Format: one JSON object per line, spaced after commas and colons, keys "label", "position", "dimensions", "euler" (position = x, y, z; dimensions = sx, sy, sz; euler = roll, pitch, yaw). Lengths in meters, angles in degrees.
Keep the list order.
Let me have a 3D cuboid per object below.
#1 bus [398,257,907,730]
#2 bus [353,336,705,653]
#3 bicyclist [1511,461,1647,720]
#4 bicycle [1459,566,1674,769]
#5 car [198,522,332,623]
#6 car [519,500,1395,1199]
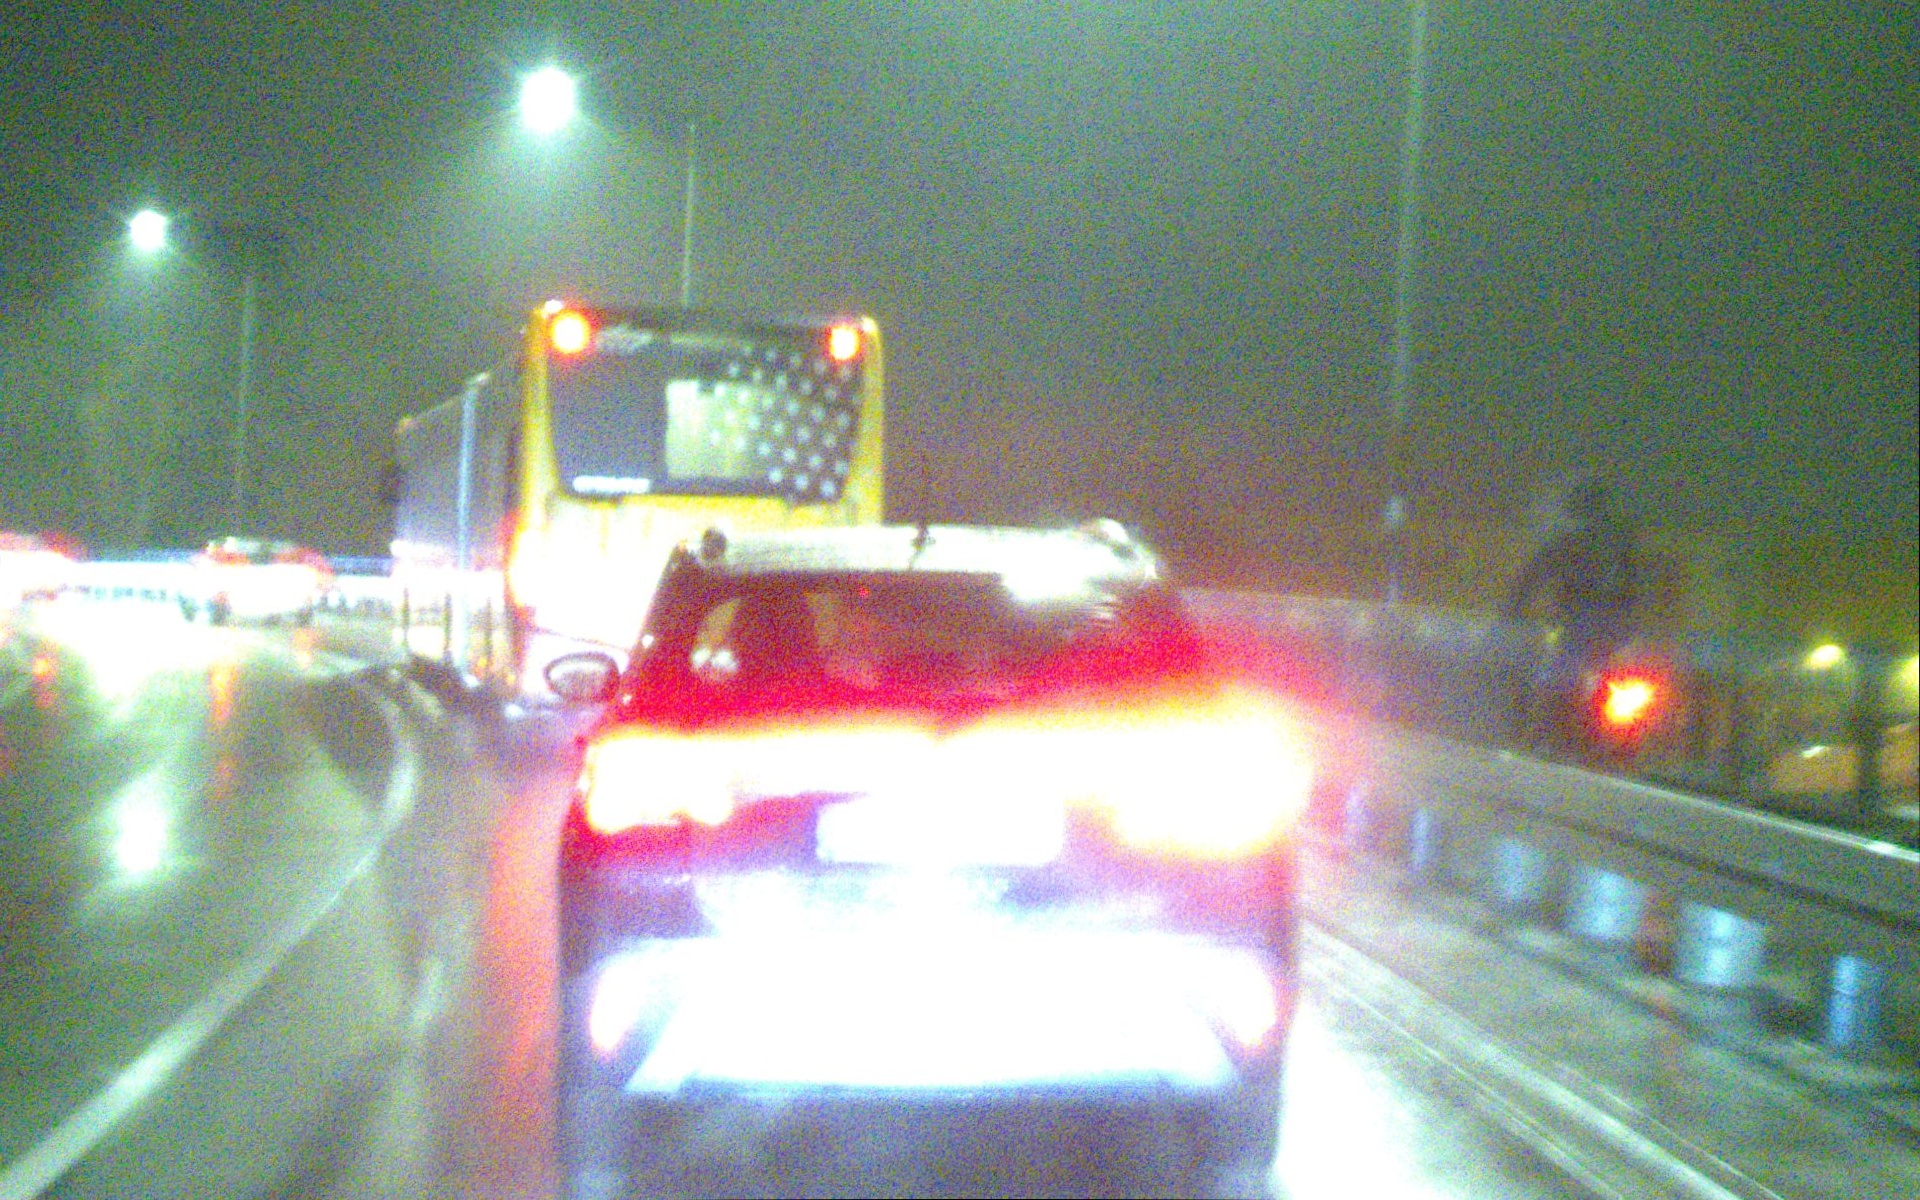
{"label": "bus", "position": [-3.057, -0.849, 29.232], "dimensions": [3.082, 3.122, 12.701], "euler": [0, 1, -11]}
{"label": "bus", "position": [-5.111, -1.158, 39.296], "dimensions": [3.048, 3.121, 8.081], "euler": [2, 1, -13]}
{"label": "bicyclist", "position": [3.299, -0.058, 18.359], "dimensions": [0.452, 1.345, 0.764], "euler": [1, 1, -9]}
{"label": "bicycle", "position": [3.262, 0.335, 18.663], "dimensions": [0.484, 1.031, 2.172], "euler": [1, 1, -8]}
{"label": "car", "position": [-11.945, -0.445, 58.959], "dimensions": [1.635, 1.650, 3.710], "euler": [0, -1, -21]}
{"label": "car", "position": [-0.029, 0.569, 9.364], "dimensions": [1.855, 1.581, 4.000], "euler": [1, 1, -1]}
